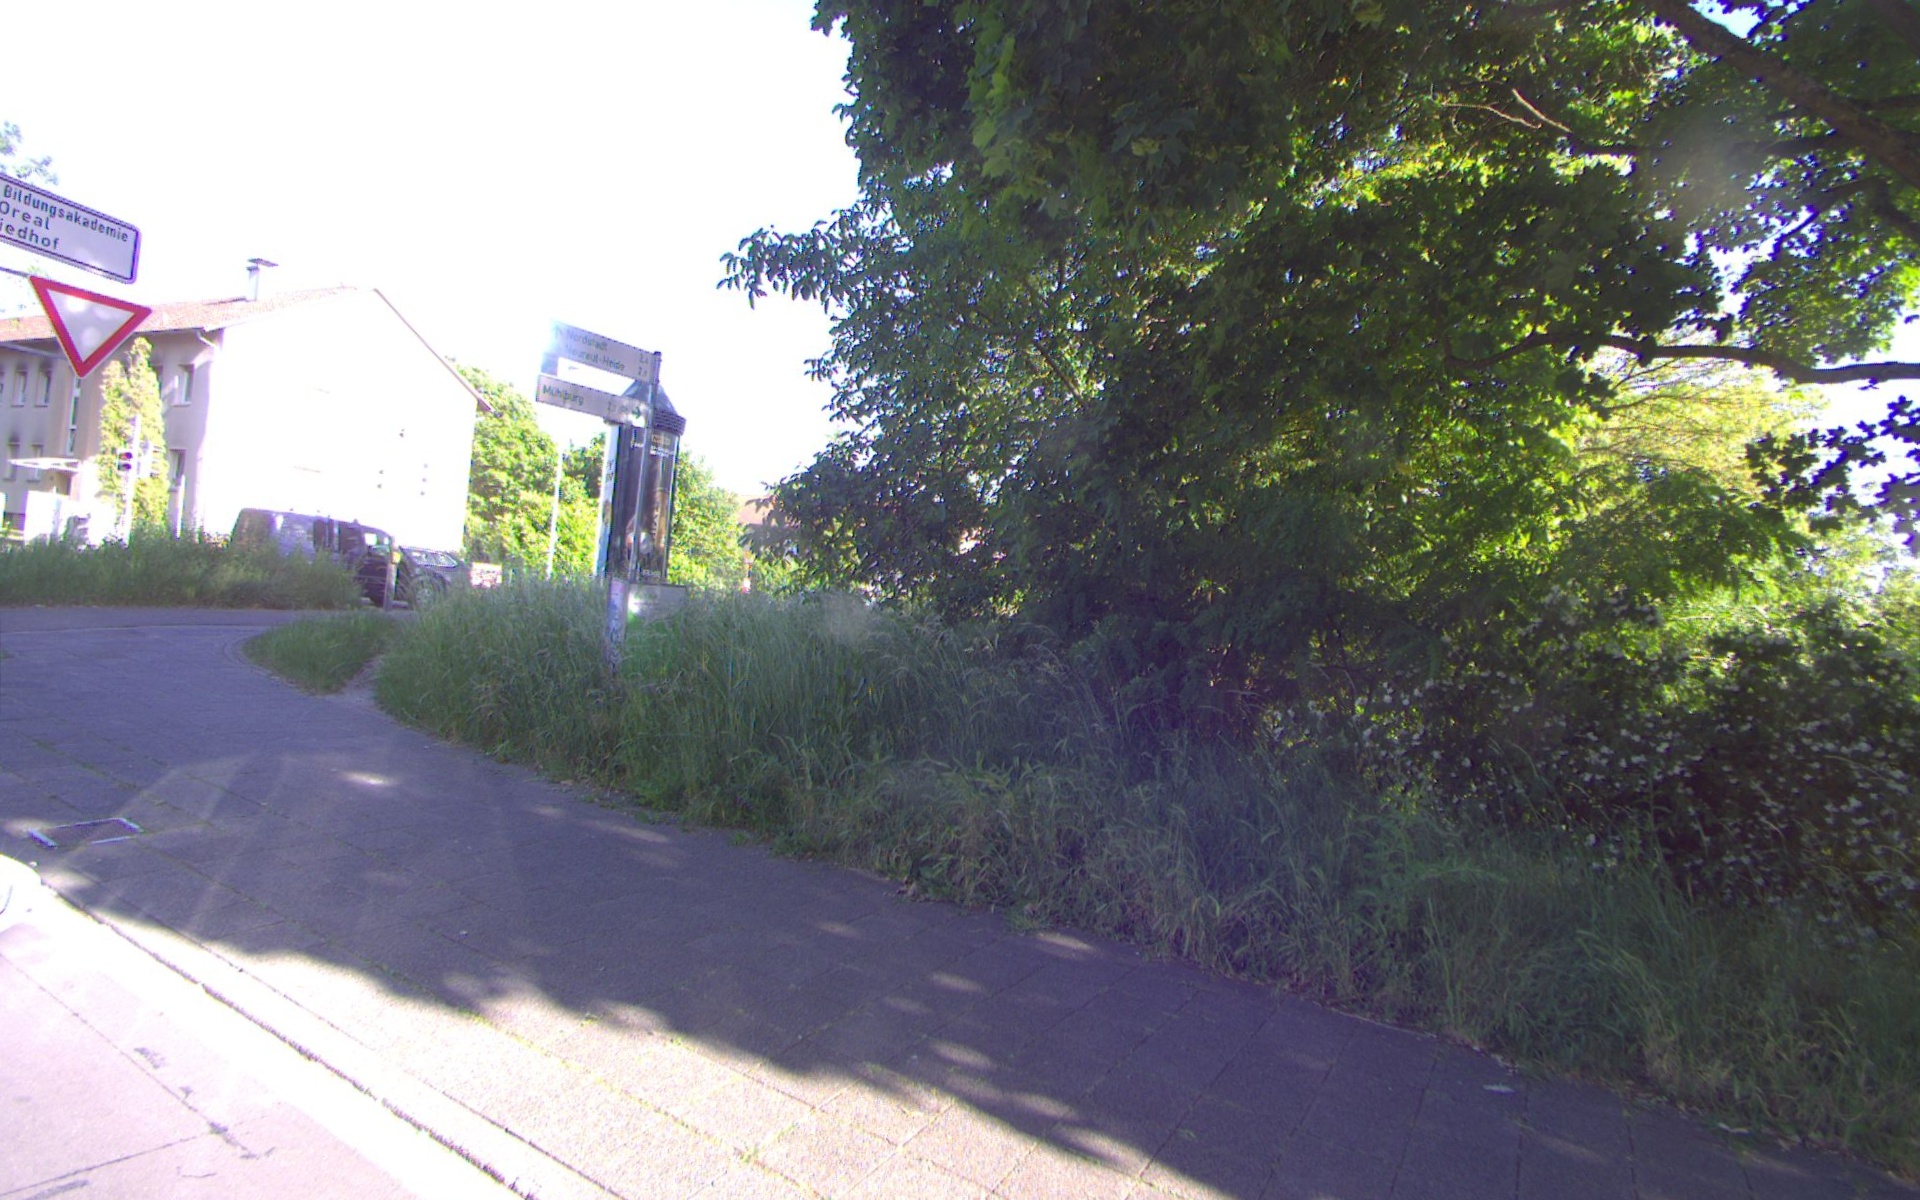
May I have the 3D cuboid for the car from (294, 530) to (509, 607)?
[{"bbox_3d":[-14.651,-0.767,26.730,1.963,1.447,4.743,7,-1,21],"label":"car"}]

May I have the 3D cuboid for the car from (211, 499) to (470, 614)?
[{"bbox_3d":[-13.324,-0.857,21.950,1.827,1.910,4.354,7,0,27],"label":"car"}]
